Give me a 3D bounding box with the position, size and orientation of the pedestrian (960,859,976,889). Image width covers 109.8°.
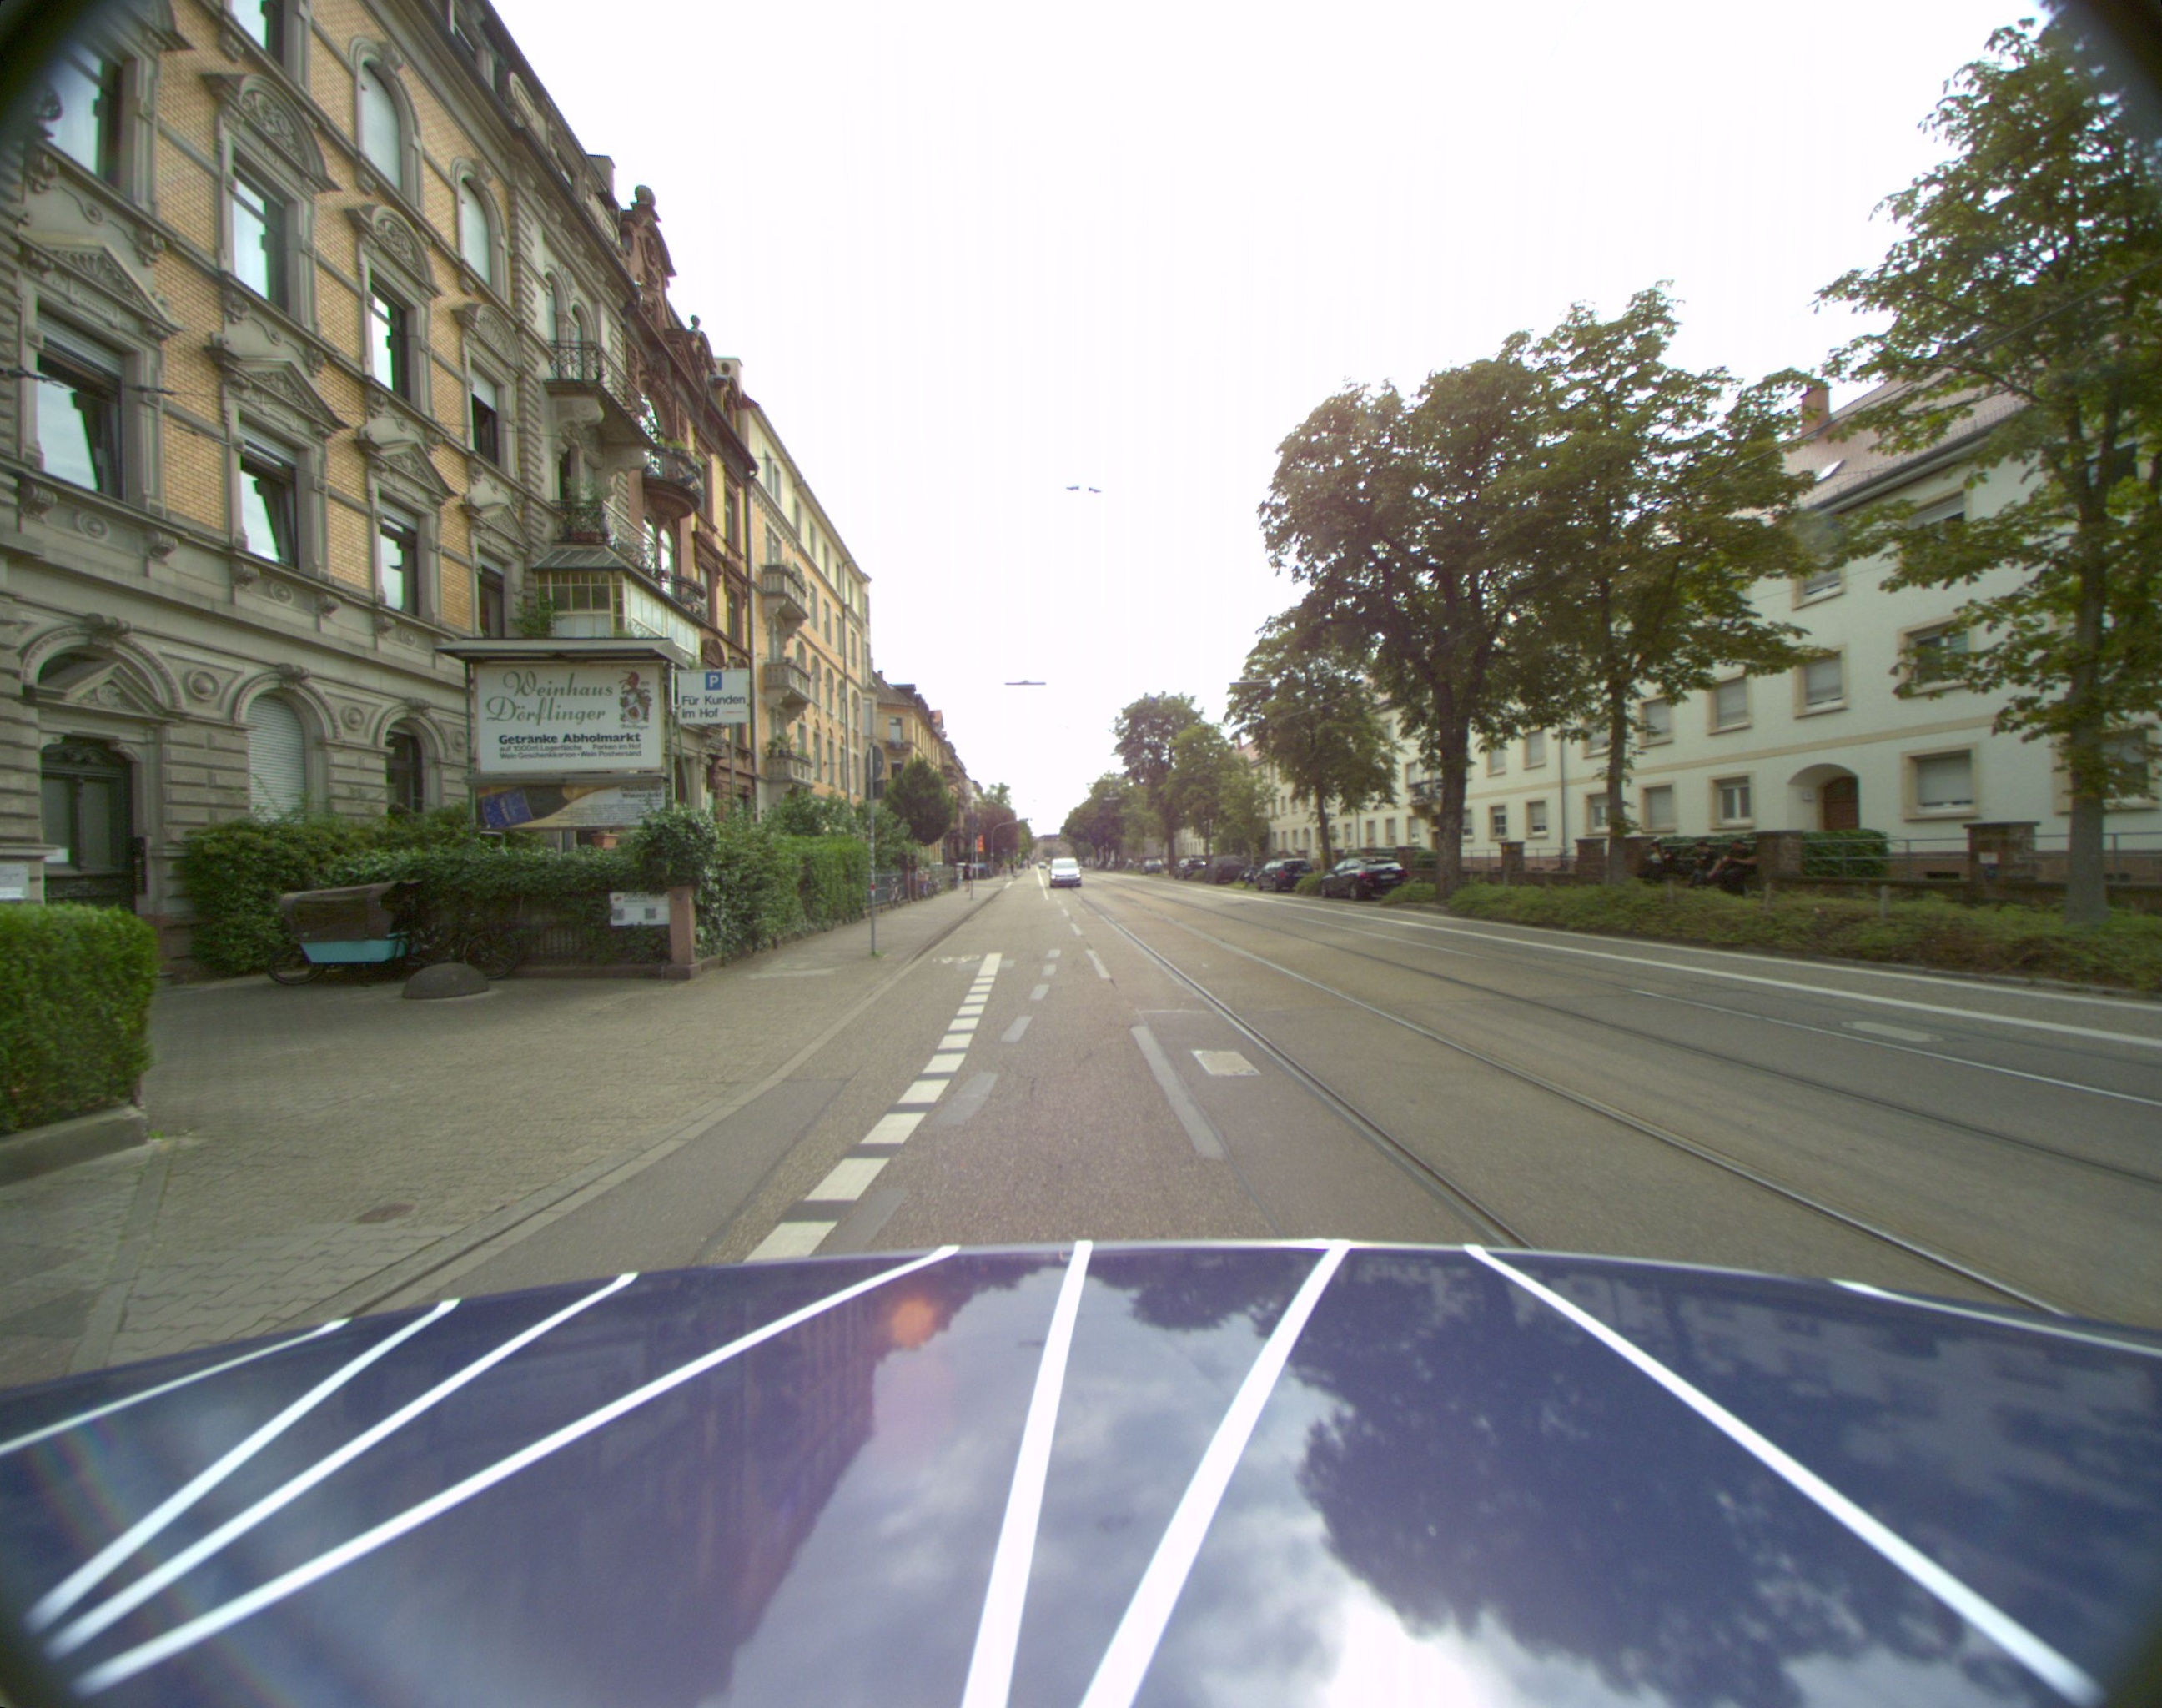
[{"bbox_3d":[-6.029,1.061,40.670,0.732,1.614,0.835,-1,0,-3],"label":"pedestrian"}]

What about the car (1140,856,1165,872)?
[{"bbox_3d":[6.968,0.946,74.529,1.702,1.462,4.298,-2,0,-5],"label":"car"}]

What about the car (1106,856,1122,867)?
[{"bbox_3d":[4.891,1.065,111.935,1.732,1.462,4.298,-1,0,-5],"label":"car"}]

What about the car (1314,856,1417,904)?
[{"bbox_3d":[9.803,0.845,26.567,1.701,1.415,4.299,-5,0,-3],"label":"car"}]

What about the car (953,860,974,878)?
[{"bbox_3d":[-10.681,1.316,69.199,1.757,1.516,3.997,-2,0,-8],"label":"car"}]

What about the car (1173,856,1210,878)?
[{"bbox_3d":[7.974,0.906,55.344,1.702,1.462,4.298,-1,0,-5],"label":"car"}]

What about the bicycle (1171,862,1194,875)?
[{"bbox_3d":[8.028,1.163,60.030,1.672,0.965,0.672,-1,0,-12],"label":"bicycle"}]

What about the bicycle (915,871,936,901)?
[{"bbox_3d":[-6.312,1.290,30.911,0.580,1.105,1.671,2,0,-4],"label":"bicycle"}]

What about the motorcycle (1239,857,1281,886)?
[{"bbox_3d":[9.075,0.876,38.546,1.872,1.253,0.591,-7,1,-7],"label":"motorcycle"}]

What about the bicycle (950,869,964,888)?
[{"bbox_3d":[-6.920,1.375,42.392,0.580,0.977,1.671,2,0,-4],"label":"bicycle"}]

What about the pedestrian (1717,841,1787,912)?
[{"bbox_3d":[14.206,0.462,16.108,0.835,1.456,0.732,-2,0,-8],"label":"pedestrian"}]

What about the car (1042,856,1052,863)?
[{"bbox_3d":[-7.755,1.243,172.476,1.947,1.675,4.000,-1,0,1],"label":"car"}]

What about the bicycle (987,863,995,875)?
[{"bbox_3d":[-8.876,1.492,75.180,0.631,1.106,1.874,-1,0,-2],"label":"bicycle"}]

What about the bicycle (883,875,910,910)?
[{"bbox_3d":[-6.183,1.279,25.554,0.580,1.105,1.671,-1,0,-4],"label":"bicycle"}]

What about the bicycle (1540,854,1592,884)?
[{"bbox_3d":[14.722,0.441,23.091,0.510,0.858,1.549,-1,0,-3],"label":"bicycle"}]

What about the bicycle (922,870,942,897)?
[{"bbox_3d":[-6.430,1.270,32.881,0.580,1.105,1.671,2,0,-4],"label":"bicycle"}]

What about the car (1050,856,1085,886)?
[{"bbox_3d":[-0.898,0.989,46.096,1.876,1.670,5.129,-2,0,-3],"label":"car"}]

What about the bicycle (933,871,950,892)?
[{"bbox_3d":[-6.684,1.309,36.507,0.580,0.977,1.671,2,0,-4],"label":"bicycle"}]

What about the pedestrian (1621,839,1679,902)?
[{"bbox_3d":[13.955,0.392,18.656,0.835,1.503,0.732,-2,0,-8],"label":"pedestrian"}]

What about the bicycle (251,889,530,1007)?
[{"bbox_3d":[-8.596,1.145,9.560,2.631,1.304,0.770,-1,0,-5],"label":"bicycle"}]

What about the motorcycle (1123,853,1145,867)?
[{"bbox_3d":[6.292,0.679,90.199,2.312,1.382,0.838,-7,1,29],"label":"motorcycle"}]

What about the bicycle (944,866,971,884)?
[{"bbox_3d":[-8.413,1.424,51.807,0.629,1.106,1.878,-1,0,40],"label":"bicycle"}]

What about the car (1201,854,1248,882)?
[{"bbox_3d":[8.654,0.822,46.129,1.790,1.602,4.299,-1,0,-3],"label":"car"}]

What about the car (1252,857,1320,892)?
[{"bbox_3d":[9.263,0.893,34.664,1.701,1.415,4.299,-3,0,-3],"label":"car"}]

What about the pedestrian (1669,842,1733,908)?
[{"bbox_3d":[14.038,0.464,17.225,0.835,1.456,0.732,-2,0,-8],"label":"pedestrian"}]
